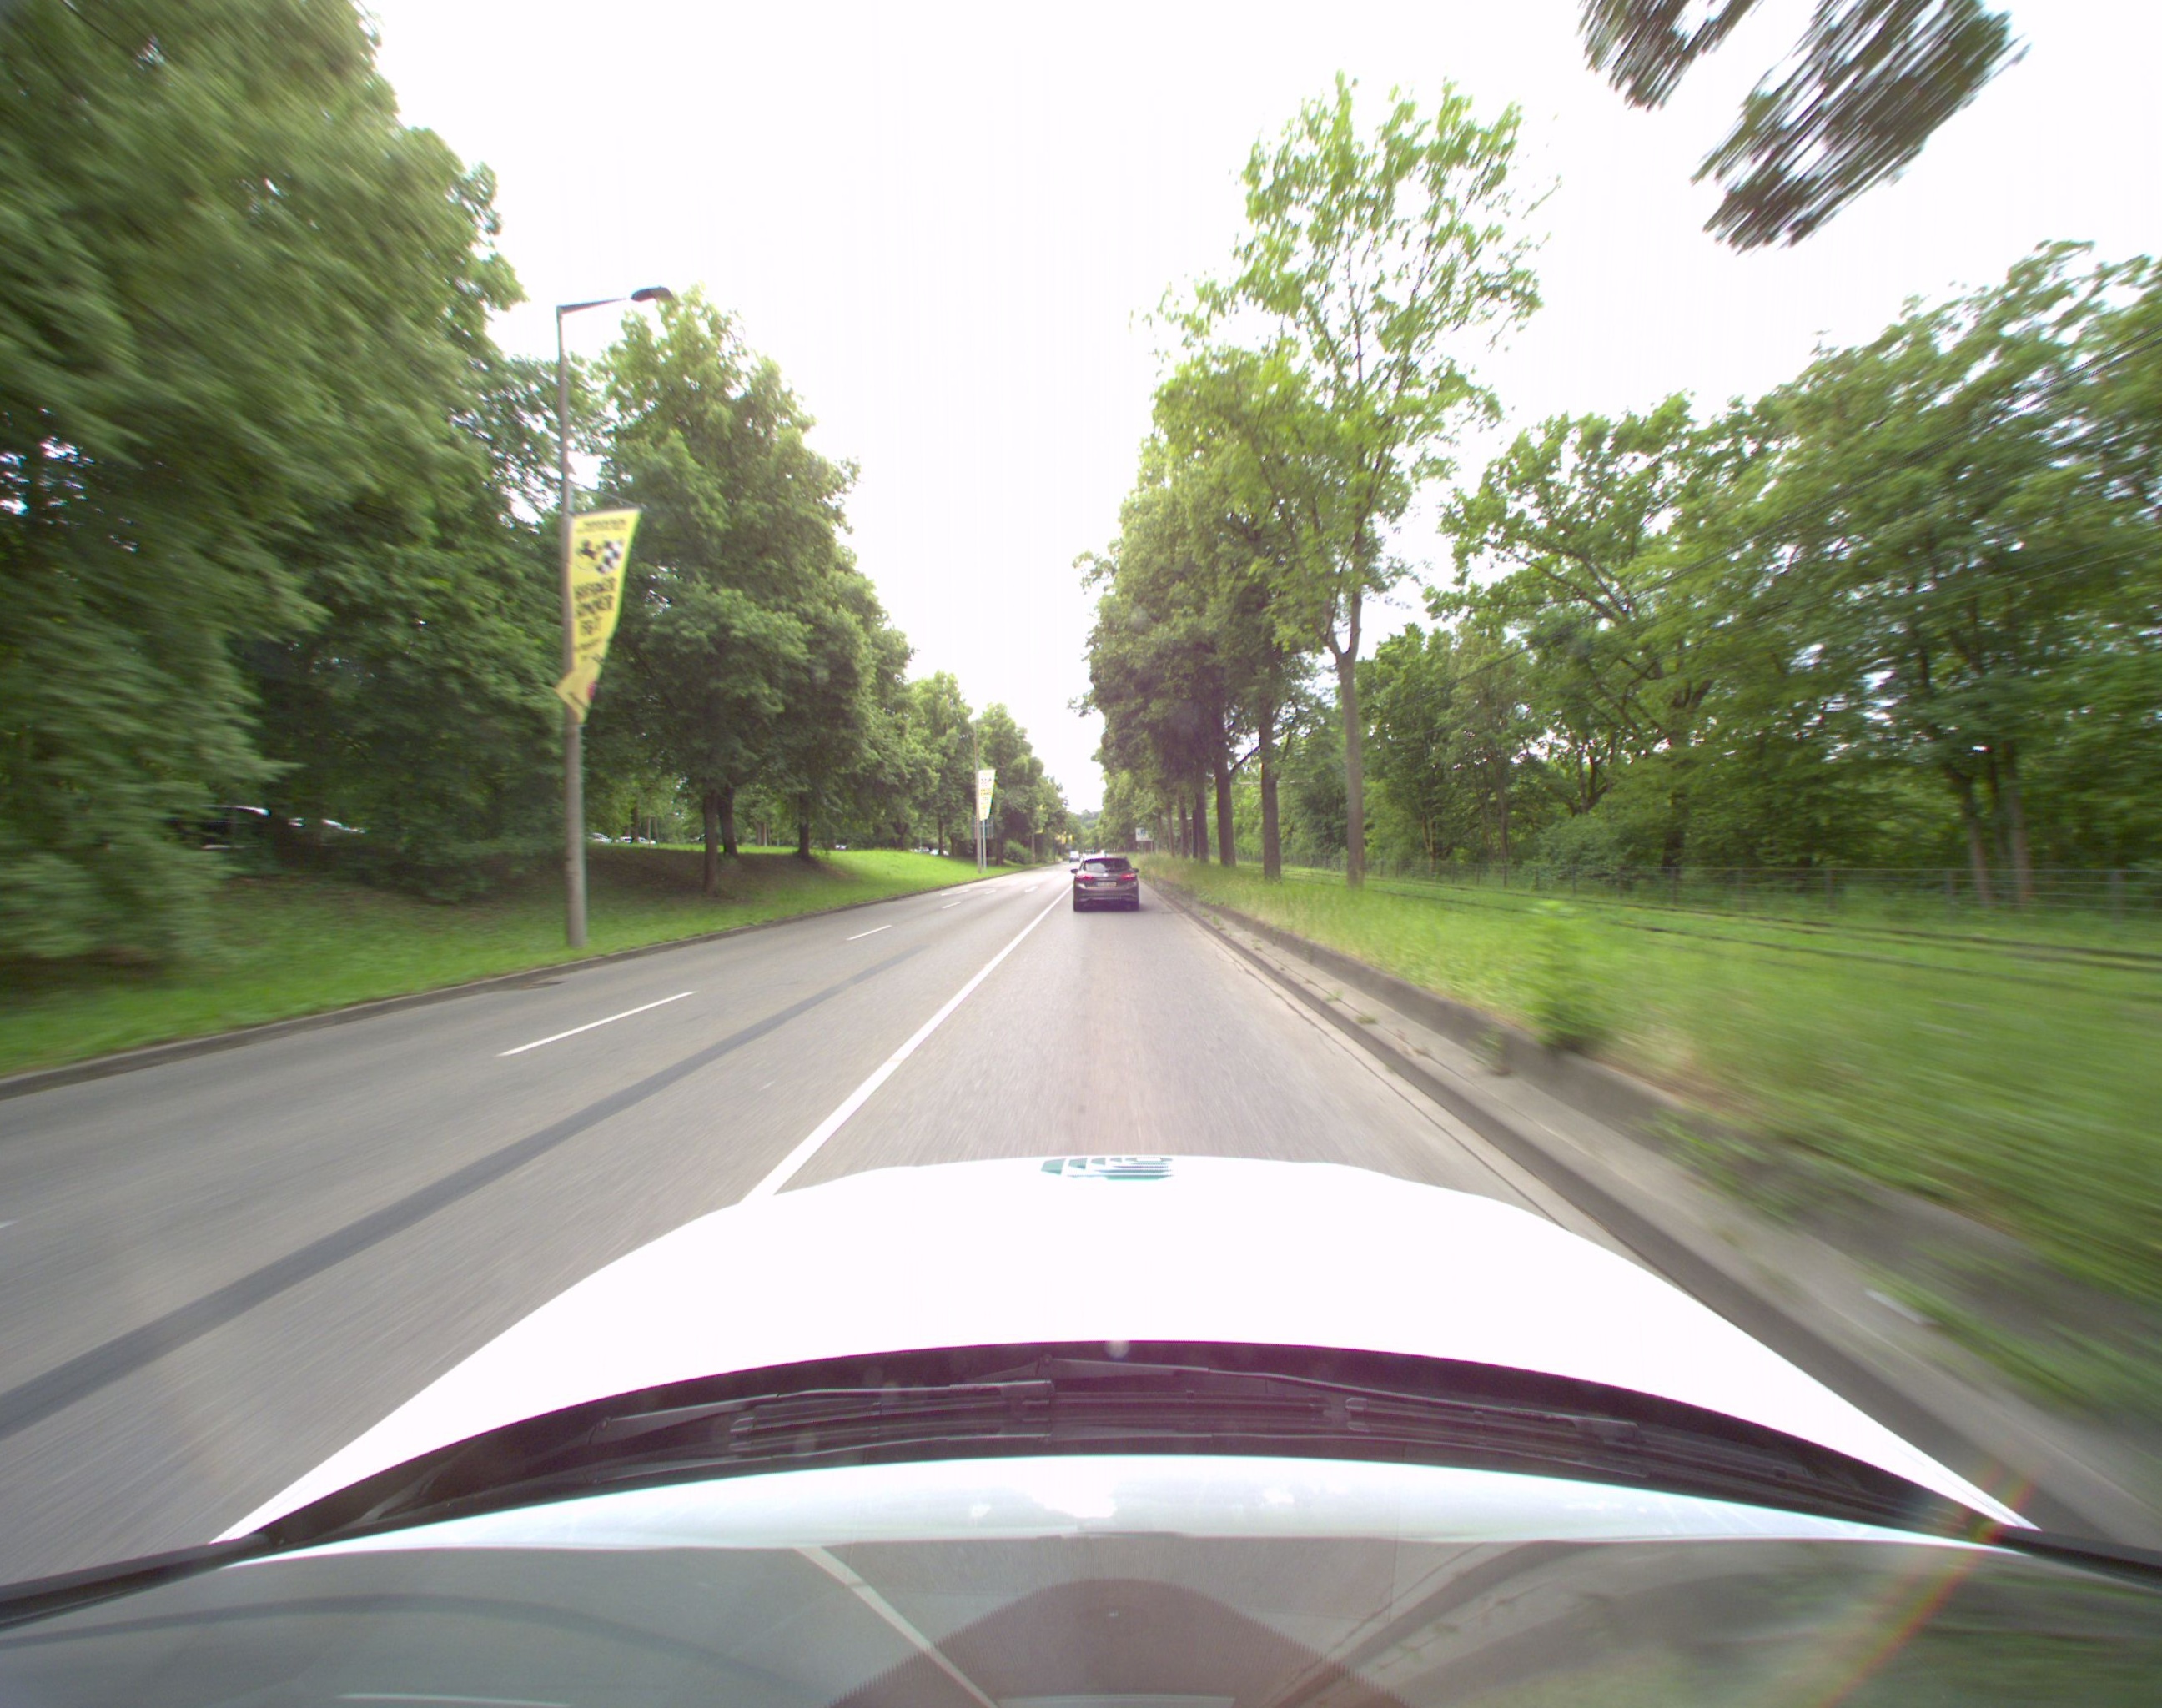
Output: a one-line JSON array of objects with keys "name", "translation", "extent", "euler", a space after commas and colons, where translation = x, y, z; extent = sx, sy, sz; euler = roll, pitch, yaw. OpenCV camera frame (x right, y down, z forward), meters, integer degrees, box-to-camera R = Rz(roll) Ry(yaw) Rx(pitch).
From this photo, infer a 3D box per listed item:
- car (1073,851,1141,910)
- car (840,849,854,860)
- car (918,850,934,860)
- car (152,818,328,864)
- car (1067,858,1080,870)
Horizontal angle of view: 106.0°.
[{"name": "car", "translation": [0.702, 0.696, 22.801], "extent": [1.724, 1.537, 3.552], "euler": [0, 0, 1]}, {"name": "car", "translation": [-33.932, 0.074, 118.095], "extent": [1.653, 1.486, 3.970], "euler": [0, 0, -22]}, {"name": "car", "translation": [-24.634, 0.198, 129.355], "extent": [1.653, 1.486, 3.970], "euler": [0, 0, -22]}, {"name": "car", "translation": [-36.443, -0.537, 35.503], "extent": [4.913, 1.895, 1.983], "euler": [0, -1, -26]}, {"name": "car", "translation": [-1.259, 1.740, 145.612], "extent": [1.986, 1.955, 5.186], "euler": [-2, -1, 2]}]
